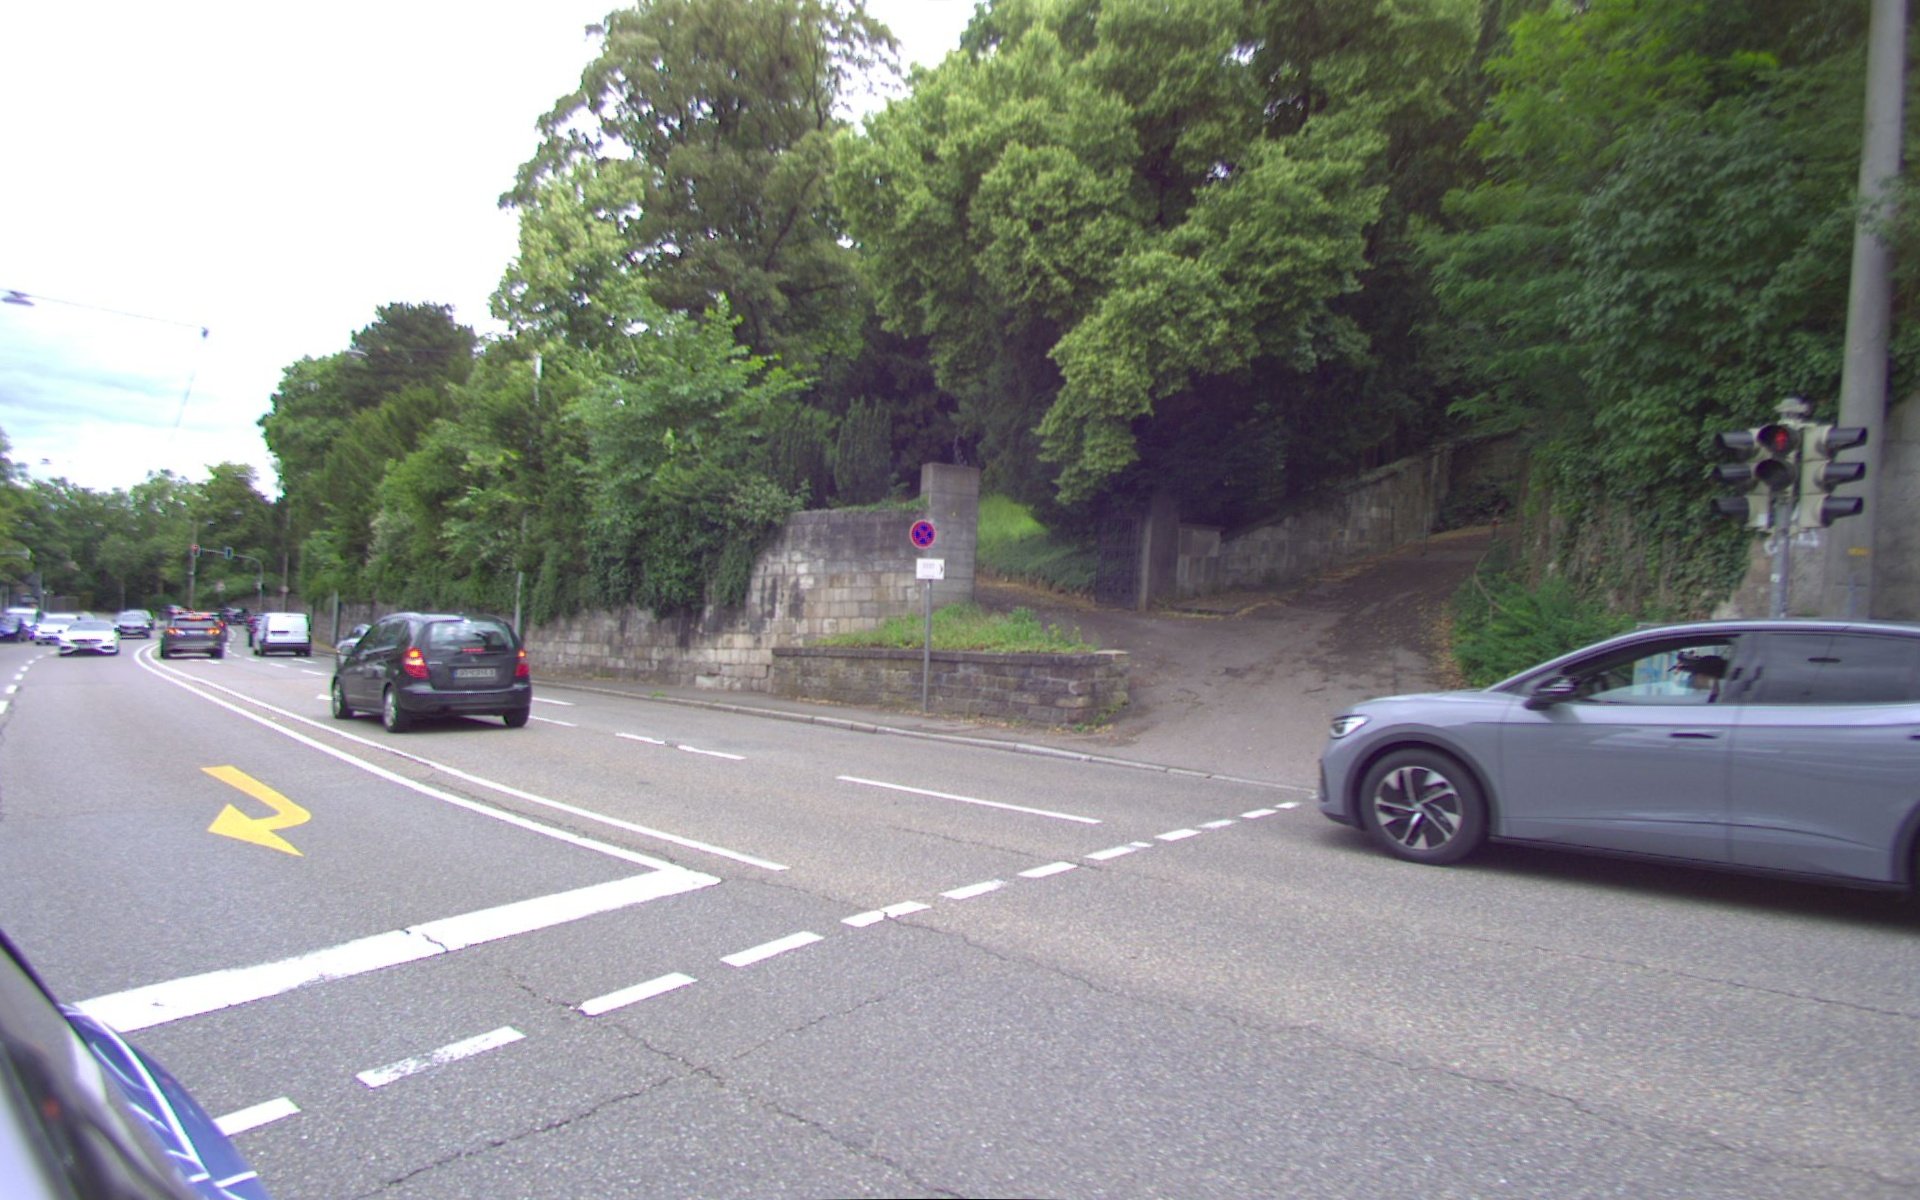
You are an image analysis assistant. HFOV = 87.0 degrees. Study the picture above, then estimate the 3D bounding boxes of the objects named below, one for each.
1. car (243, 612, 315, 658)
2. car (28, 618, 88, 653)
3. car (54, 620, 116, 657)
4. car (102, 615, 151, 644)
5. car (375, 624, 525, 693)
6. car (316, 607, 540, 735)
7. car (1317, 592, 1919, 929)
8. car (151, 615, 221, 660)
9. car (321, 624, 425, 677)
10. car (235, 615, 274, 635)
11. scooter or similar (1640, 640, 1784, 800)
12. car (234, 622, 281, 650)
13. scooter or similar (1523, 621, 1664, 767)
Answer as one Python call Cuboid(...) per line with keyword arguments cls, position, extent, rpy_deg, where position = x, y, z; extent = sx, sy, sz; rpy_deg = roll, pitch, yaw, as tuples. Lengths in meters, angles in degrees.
Cuboid(cls="car", position=(-29.147, 1.492, 43.266), extent=(1.870, 1.862, 4.402), rpy_deg=(3, -3, -42))
Cuboid(cls="car", position=(-48.123, 1.860, 53.969), extent=(3.999, 1.785, 1.932), rpy_deg=(-1, -2, 42))
Cuboid(cls="car", position=(-35.037, 1.545, 40.540), extent=(1.776, 1.401, 3.532), rpy_deg=(3, -4, -41))
Cuboid(cls="car", position=(-52.415, 1.847, 63.603), extent=(4.002, 1.753, 1.931), rpy_deg=(-1, -3, 45))
Cuboid(cls="car", position=(-11.773, 1.297, 23.233), extent=(4.430, 1.429, 1.664), rpy_deg=(-1, -4, 44))
Cuboid(cls="car", position=(-7.647, 0.946, 14.417), extent=(3.681, 1.578, 1.734), rpy_deg=(-1, -4, 45))
Cuboid(cls="car", position=(4.737, 0.838, 6.120), extent=(4.474, 1.620, 1.973), rpy_deg=(-1, -4, 41))
Cuboid(cls="car", position=(-29.937, 1.413, 39.098), extent=(1.826, 1.645, 4.367), rpy_deg=(2, -2, -41))
Cuboid(cls="car", position=(-17.121, 1.445, 29.451), extent=(1.695, 1.414, 4.027), rpy_deg=(3, -4, -43))
Cuboid(cls="car", position=(-53.274, 1.884, 76.376), extent=(1.820, 1.420, 4.461), rpy_deg=(4, -3, -42))
Cuboid(cls="scooter or similar", position=(6.700, 1.034, 9.069), extent=(0.428, 1.246, 1.099), rpy_deg=(-2, 2, -2))
Cuboid(cls="car", position=(-38.494, 1.953, 55.430), extent=(1.543, 1.413, 4.259), rpy_deg=(4, -3, -42))
Cuboid(cls="scooter or similar", position=(6.557, 0.934, 10.545), extent=(0.427, 1.246, 1.353), rpy_deg=(-3, 6, -9))
